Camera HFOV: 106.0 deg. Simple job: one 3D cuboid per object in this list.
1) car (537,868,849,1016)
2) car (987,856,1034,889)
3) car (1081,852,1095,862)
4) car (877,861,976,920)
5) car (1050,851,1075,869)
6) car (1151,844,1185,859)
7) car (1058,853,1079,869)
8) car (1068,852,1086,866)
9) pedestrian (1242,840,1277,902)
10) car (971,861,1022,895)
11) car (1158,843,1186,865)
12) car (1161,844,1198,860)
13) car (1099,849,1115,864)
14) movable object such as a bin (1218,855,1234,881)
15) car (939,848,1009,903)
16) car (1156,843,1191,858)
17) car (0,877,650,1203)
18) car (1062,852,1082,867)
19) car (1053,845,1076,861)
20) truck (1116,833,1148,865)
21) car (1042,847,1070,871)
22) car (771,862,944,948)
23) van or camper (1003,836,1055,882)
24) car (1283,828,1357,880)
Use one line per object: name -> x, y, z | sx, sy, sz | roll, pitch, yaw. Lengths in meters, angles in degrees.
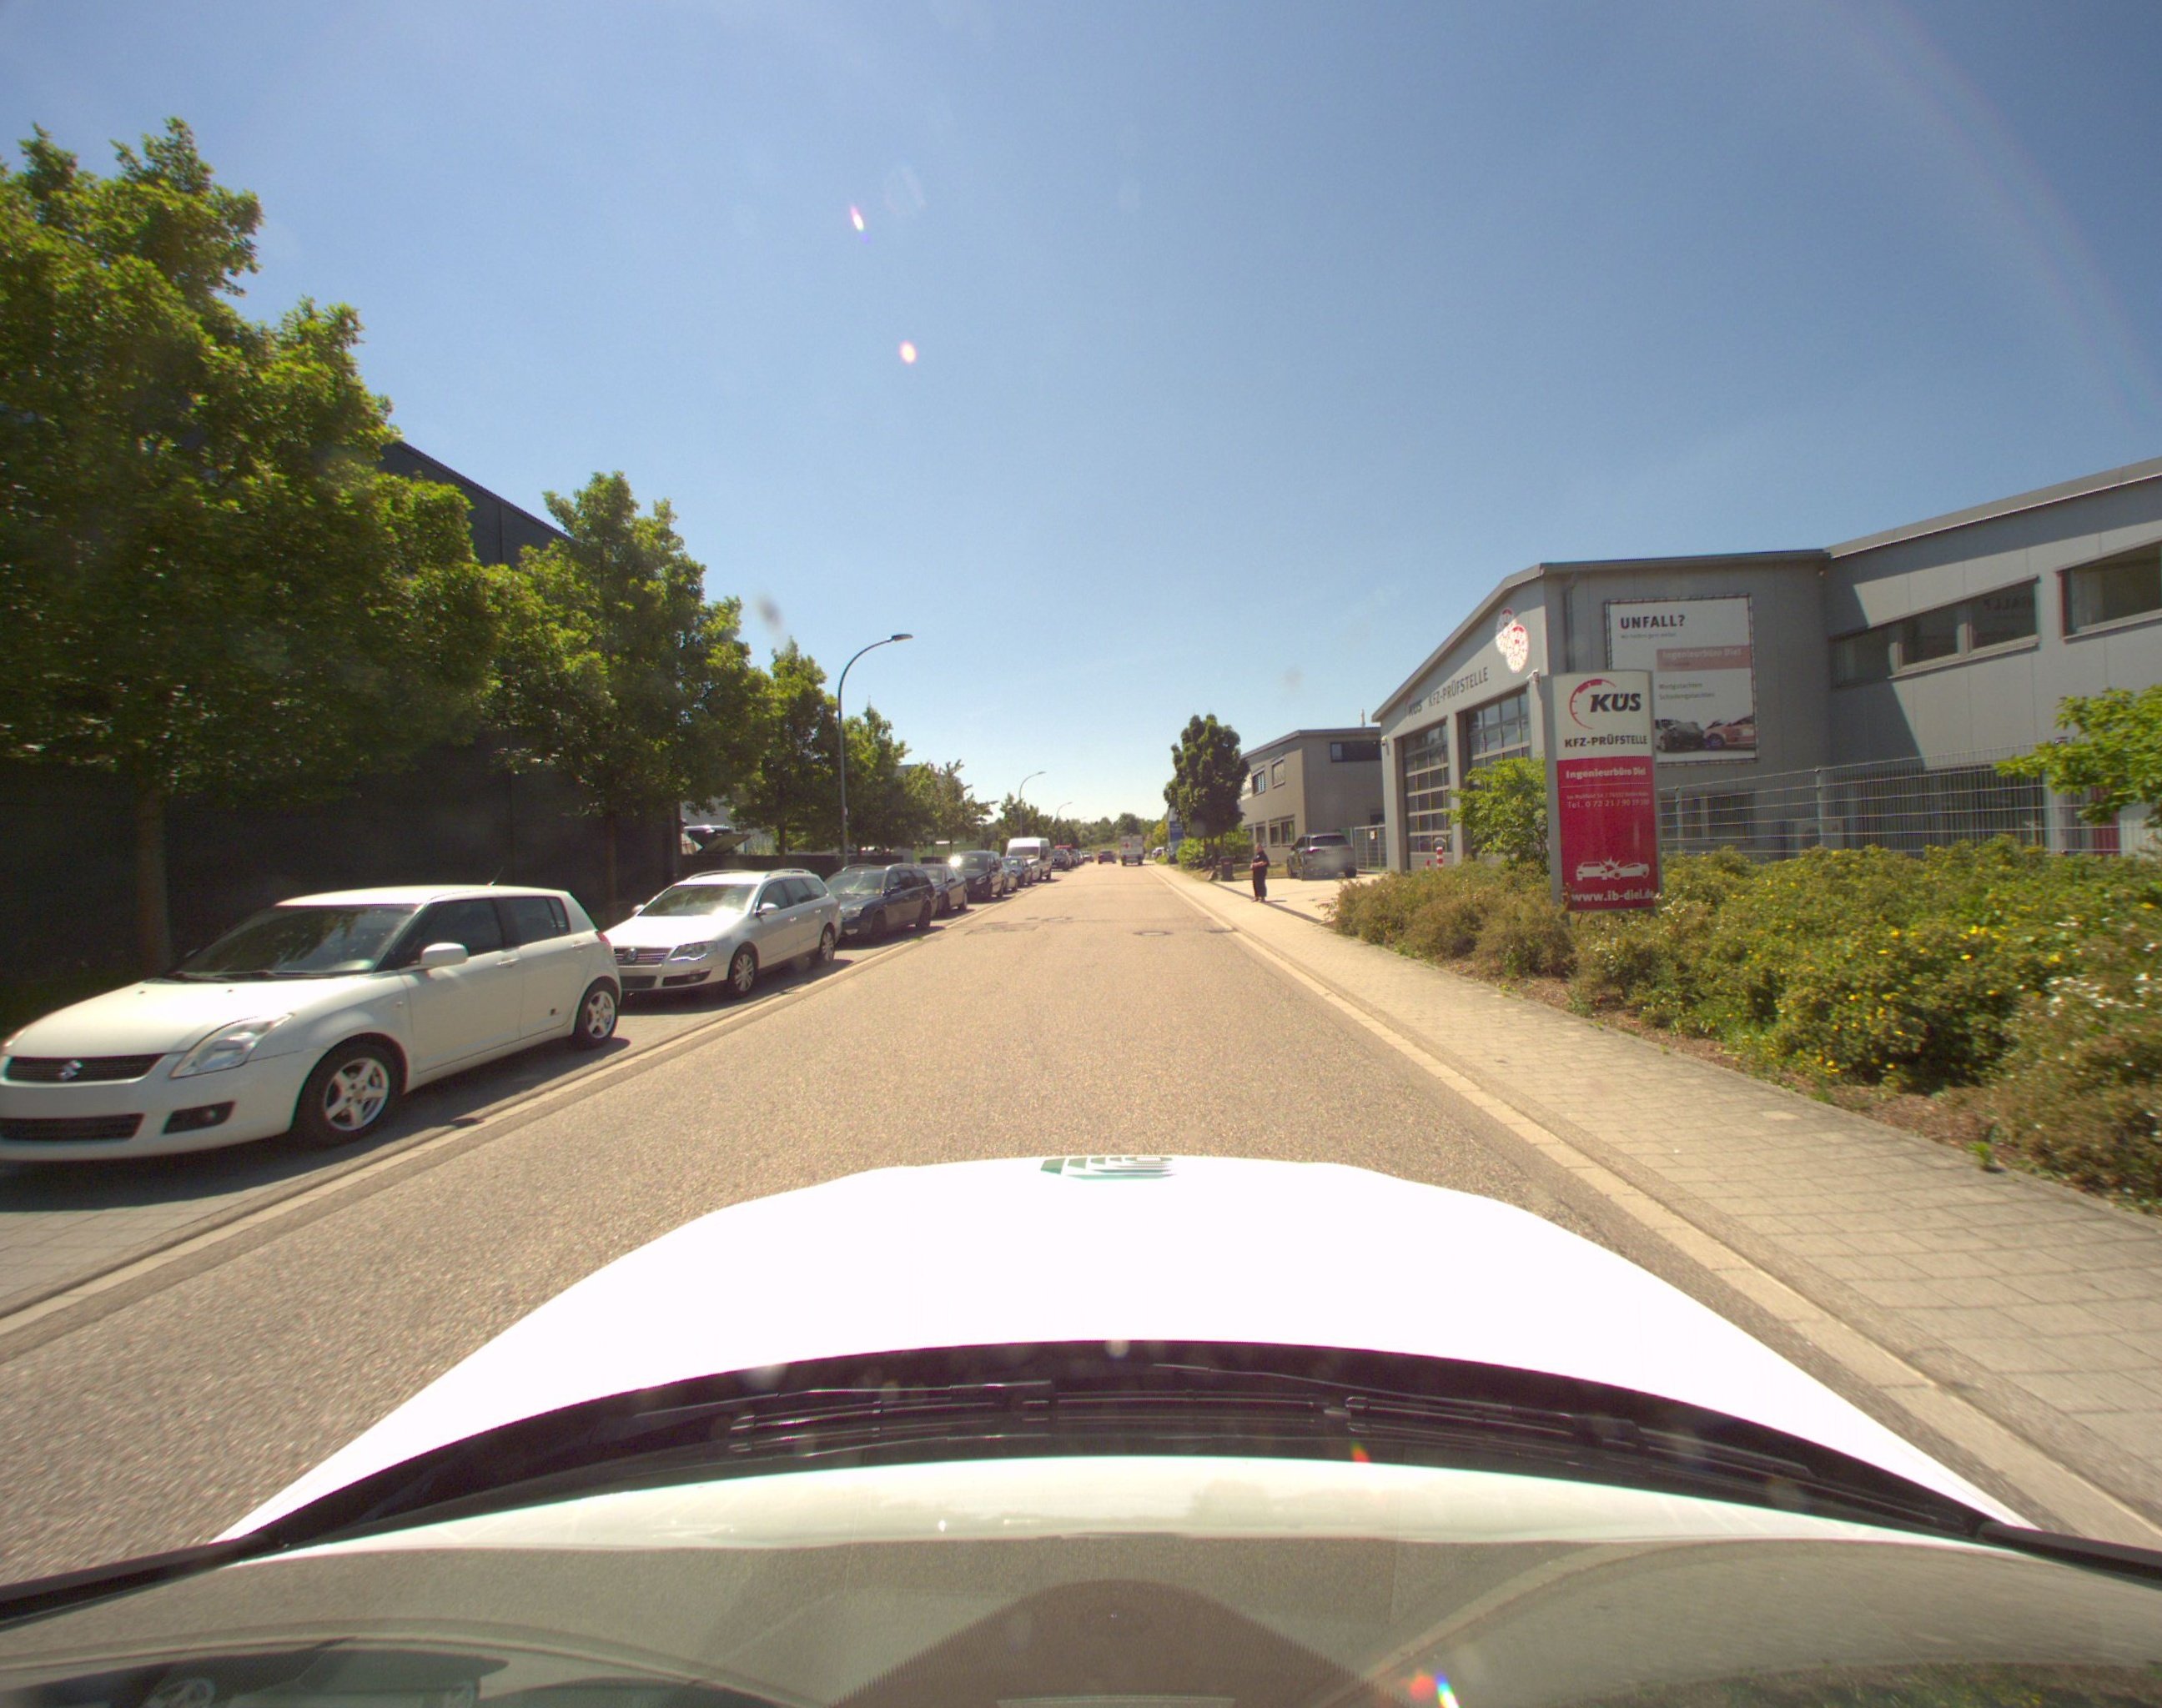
car -> -4.819, 0.984, 11.021 | 1.791, 1.476, 4.558 | -2, 0, 3
car -> -3.407, 0.877, 40.094 | 1.792, 1.449, 4.254 | -2, 0, 2
car -> 1.027, 0.474, 124.396 | 1.791, 1.487, 4.258 | -2, 1, 4
car -> -4.350, 0.974, 23.592 | 1.792, 1.476, 4.590 | -2, 0, 2
car -> -1.654, 0.545, 74.444 | 1.791, 1.487, 4.258 | -2, 1, 4
car -> 10.236, -0.260, 95.668 | 3.863, 1.750, 1.751 | 0, 0, 0
car -> -1.259, 0.710, 84.345 | 1.791, 1.487, 4.258 | -2, 1, 4
car -> -0.425, 0.560, 95.601 | 1.791, 1.487, 4.258 | -2, 1, 4
pedestrian -> 4.885, 0.468, 22.331 | 0.500, 1.613, 0.710 | -6, 0, -14
car -> -3.578, 0.977, 34.982 | 1.471, 1.297, 3.904 | -2, 0, 5
car -> 7.947, 0.031, 71.459 | 1.987, 1.803, 4.140 | -3, 0, 0
car -> 10.953, -0.268, 90.687 | 3.863, 1.750, 1.751 | 0, 0, 0
car -> 2.938, 0.283, 91.268 | 1.782, 1.623, 3.811 | 0, 0, 2
movable object such as a bin -> 6.214, 0.601, 34.883 | 0.529, 1.052, 0.846 | -3, 0, 4
car -> -3.802, 0.737, 29.621 | 1.792, 1.814, 4.254 | -2, 0, 2
car -> 10.570, -0.375, 92.975 | 3.863, 1.750, 1.751 | 0, 0, 0
car -> -5.068, 0.977, 5.946 | 1.715, 1.476, 3.857 | -2, 0, 0
car -> -0.953, 0.621, 89.578 | 1.791, 1.487, 4.258 | -2, 1, 4
car -> -1.584, -0.098, 79.955 | 1.791, 1.487, 4.258 | -2, 1, 4
truck -> 4.890, -0.436, 78.020 | 2.921, 2.974, 6.424 | 0, 0, 3
car -> -2.052, 0.389, 66.893 | 1.791, 1.848, 4.258 | -2, 0, 4
car -> -4.490, 0.966, 17.204 | 1.789, 1.476, 4.648 | -2, 0, 8
van or camper -> -2.925, 0.262, 46.984 | 2.069, 2.483, 6.139 | 0, 0, 5
car -> 9.320, 0.018, 32.148 | 1.777, 1.783, 4.912 | -3, -1, 5
